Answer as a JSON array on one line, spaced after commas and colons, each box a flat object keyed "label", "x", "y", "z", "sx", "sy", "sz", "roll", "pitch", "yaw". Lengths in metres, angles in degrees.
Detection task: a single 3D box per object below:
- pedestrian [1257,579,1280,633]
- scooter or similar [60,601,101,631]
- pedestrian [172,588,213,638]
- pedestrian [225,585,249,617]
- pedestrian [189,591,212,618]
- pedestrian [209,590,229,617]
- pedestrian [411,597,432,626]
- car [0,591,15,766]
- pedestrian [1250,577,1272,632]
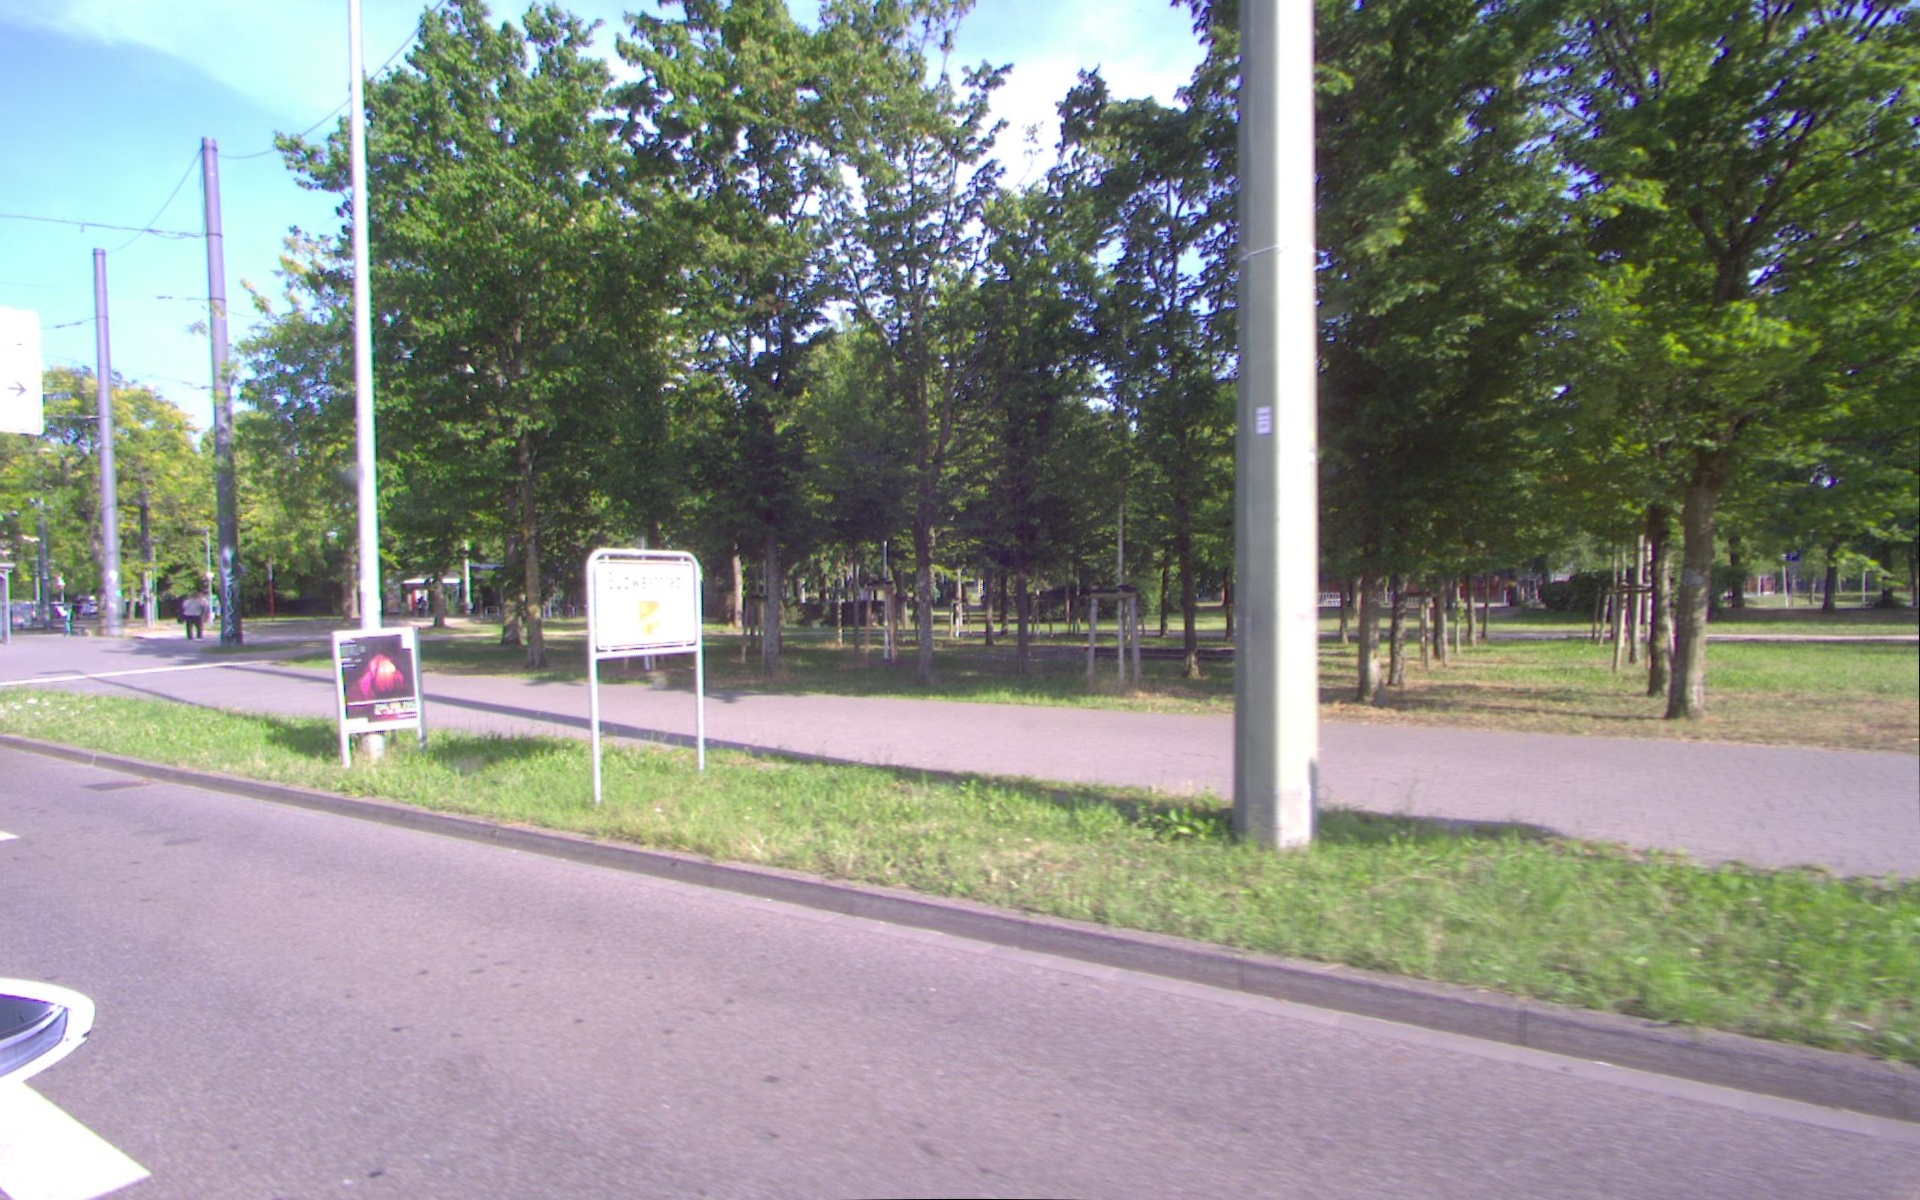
[{"label": "pedestrian", "x": 10.479, "y": 0.204, "z": 34.000, "sx": 0.617, "sy": 1.836, "sz": 0.502, "roll": -1, "pitch": 1, "yaw": 3}, {"label": "scooter or similar", "x": -32.874, "y": 0.596, "z": 37.423, "sx": 1.305, "sy": 1.132, "sz": 0.420, "roll": 0, "pitch": 1, "yaw": 12}, {"label": "pedestrian", "x": -25.801, "y": 0.435, "z": 33.685, "sx": 0.793, "sy": 1.659, "sz": 0.754, "roll": -1, "pitch": 1, "yaw": -7}, {"label": "pedestrian", "x": -41.691, "y": 0.067, "z": 57.714, "sx": 0.826, "sy": 1.809, "sz": 0.799, "roll": 0, "pitch": 1, "yaw": 28}, {"label": "pedestrian", "x": -42.463, "y": 0.239, "z": 55.998, "sx": 0.687, "sy": 1.508, "sz": 0.815, "roll": -1, "pitch": 1, "yaw": -9}, {"label": "pedestrian", "x": -41.423, "y": 0.186, "z": 55.985, "sx": 0.805, "sy": 1.508, "sz": 0.696, "roll": -2, "pitch": 2, "yaw": -33}, {"label": "pedestrian", "x": -31.915, "y": 0.670, "z": 59.383, "sx": 0.792, "sy": 1.659, "sz": 0.833, "roll": 0, "pitch": 2, "yaw": 38}, {"label": "car", "x": -11.161, "y": 0.779, "z": 9.825, "sx": 3.595, "sy": 1.673, "sz": 1.880, "roll": 0, "pitch": 1, "yaw": 32}, {"label": "pedestrian", "x": 10.041, "y": 0.147, "z": 33.455, "sx": 0.617, "sy": 1.836, "sz": 0.502, "roll": -1, "pitch": 1, "yaw": 6}]
